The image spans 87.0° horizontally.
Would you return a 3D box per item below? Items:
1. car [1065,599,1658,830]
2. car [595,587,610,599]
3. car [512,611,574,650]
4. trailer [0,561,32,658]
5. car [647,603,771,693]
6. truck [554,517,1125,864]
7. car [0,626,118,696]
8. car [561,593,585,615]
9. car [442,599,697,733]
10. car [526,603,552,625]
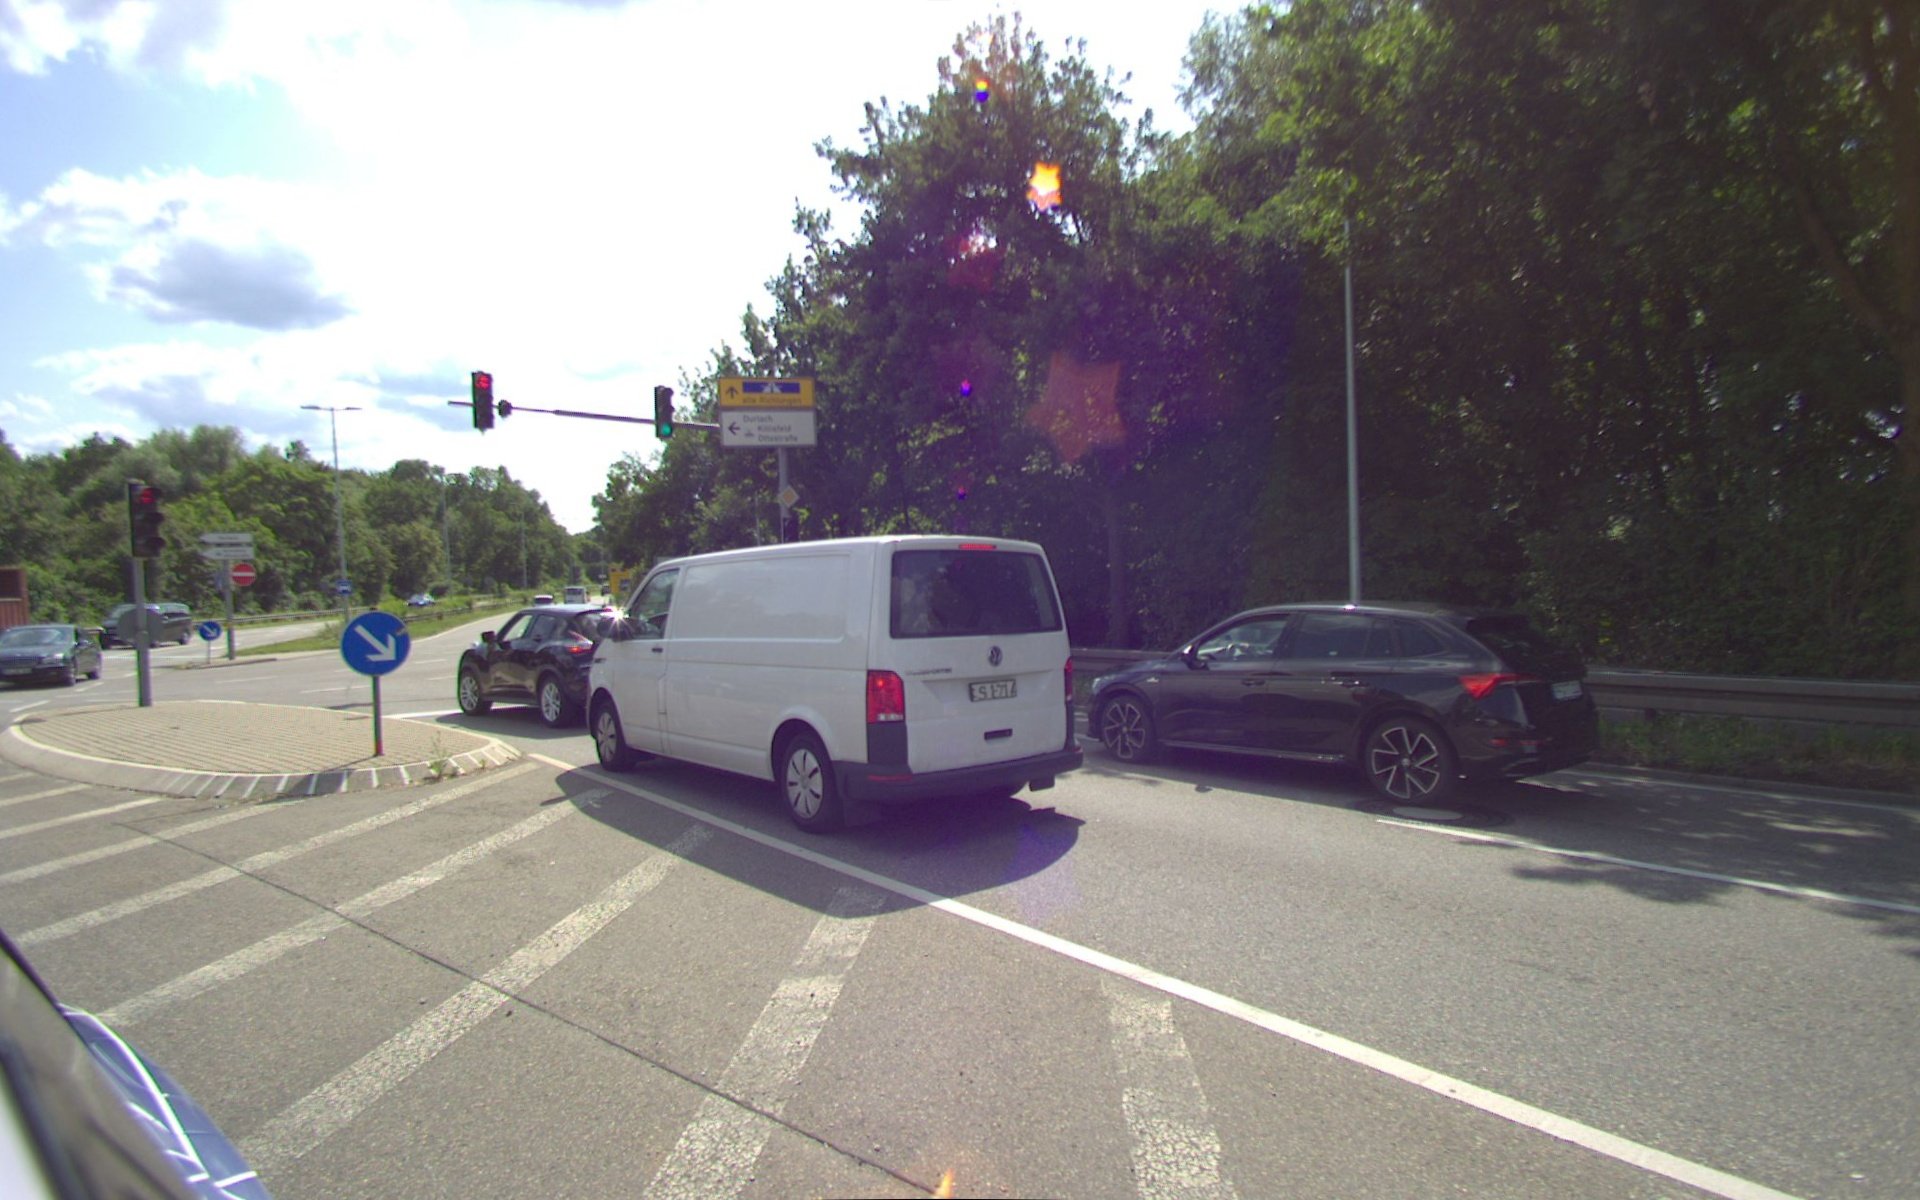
[{"bbox_3d":[3.012,0.737,8.433,1.615,1.420,4.345,0,-1,-40],"label":"car"},{"bbox_3d":[-48.864,-0.927,138.427,1.686,1.598,4.294,0,0,-16],"label":"car"},{"bbox_3d":[-16.977,1.185,41.076,1.659,1.489,4.727,0,-1,-31],"label":"car"},{"bbox_3d":[-39.450,0.480,35.265,2.742,3.879,12.318,-2,1,1],"label":"trailer"},{"bbox_3d":[-4.816,0.834,19.059,1.501,1.495,3.834,0,-1,-26],"label":"car"},{"bbox_3d":[-1.379,0.529,8.297,1.936,1.927,5.378,-1,0,-41],"label":"truck"},{"bbox_3d":[-21.910,1.404,24.119,1.827,1.421,4.013,-2,0,-25],"label":"car"},{"bbox_3d":[-36.526,0.362,95.558,1.965,2.029,5.152,1,0,-19],"label":"car"},{"bbox_3d":[-5.462,0.821,13.961,3.820,1.569,1.680,-1,0,41],"label":"car"},{"bbox_3d":[-31.261,1.036,75.143,1.708,1.532,4.081,0,0,-21],"label":"car"}]
